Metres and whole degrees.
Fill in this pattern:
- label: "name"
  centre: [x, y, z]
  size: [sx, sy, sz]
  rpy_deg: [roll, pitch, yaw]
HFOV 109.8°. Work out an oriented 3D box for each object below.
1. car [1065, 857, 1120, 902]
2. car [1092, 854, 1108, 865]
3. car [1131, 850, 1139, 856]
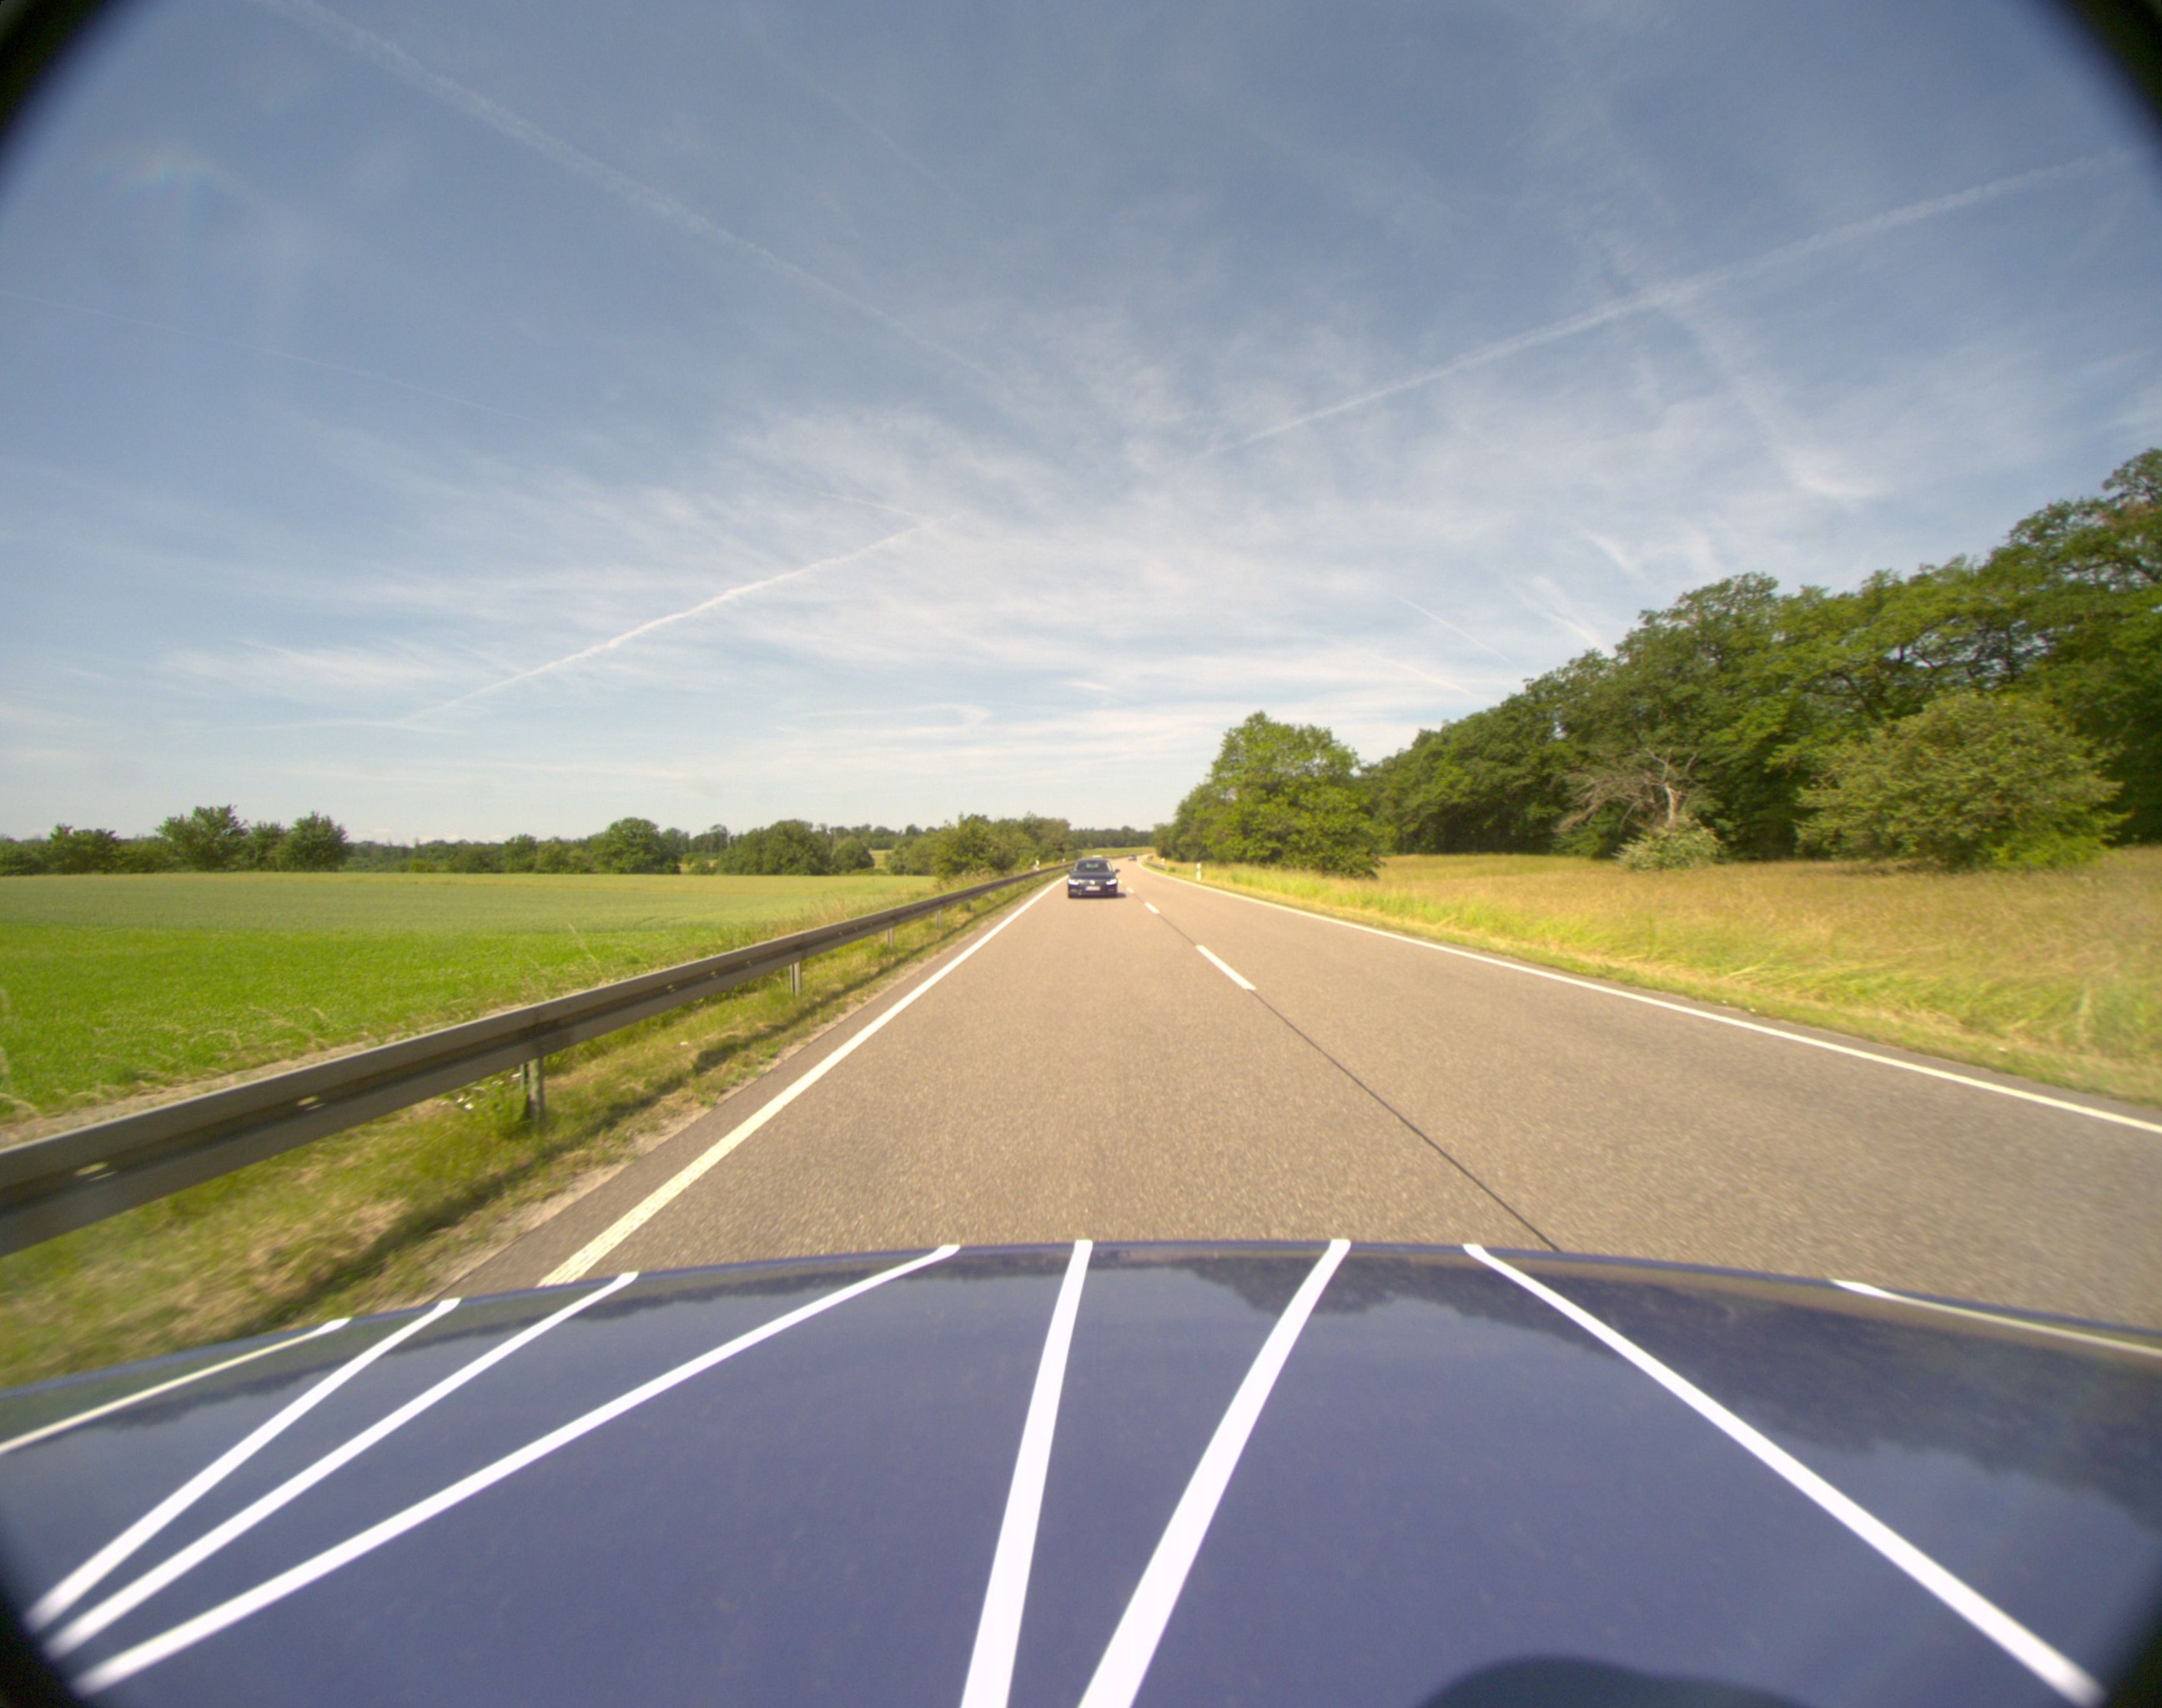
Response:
- label: "car"
  centre: [0.456, 0.869, 27.485]
  size: [1.821, 1.501, 4.501]
  rpy_deg: [-1, 0, 2]
- label: "car"
  centre: [2.648, 0.823, 106.206]
  size: [1.928, 1.501, 4.291]
  rpy_deg: [-1, 0, -2]
- label: "car"
  centre: [12.672, -0.287, 177.996]
  size: [1.748, 1.506, 4.055]
  rpy_deg: [0, 0, 6]
